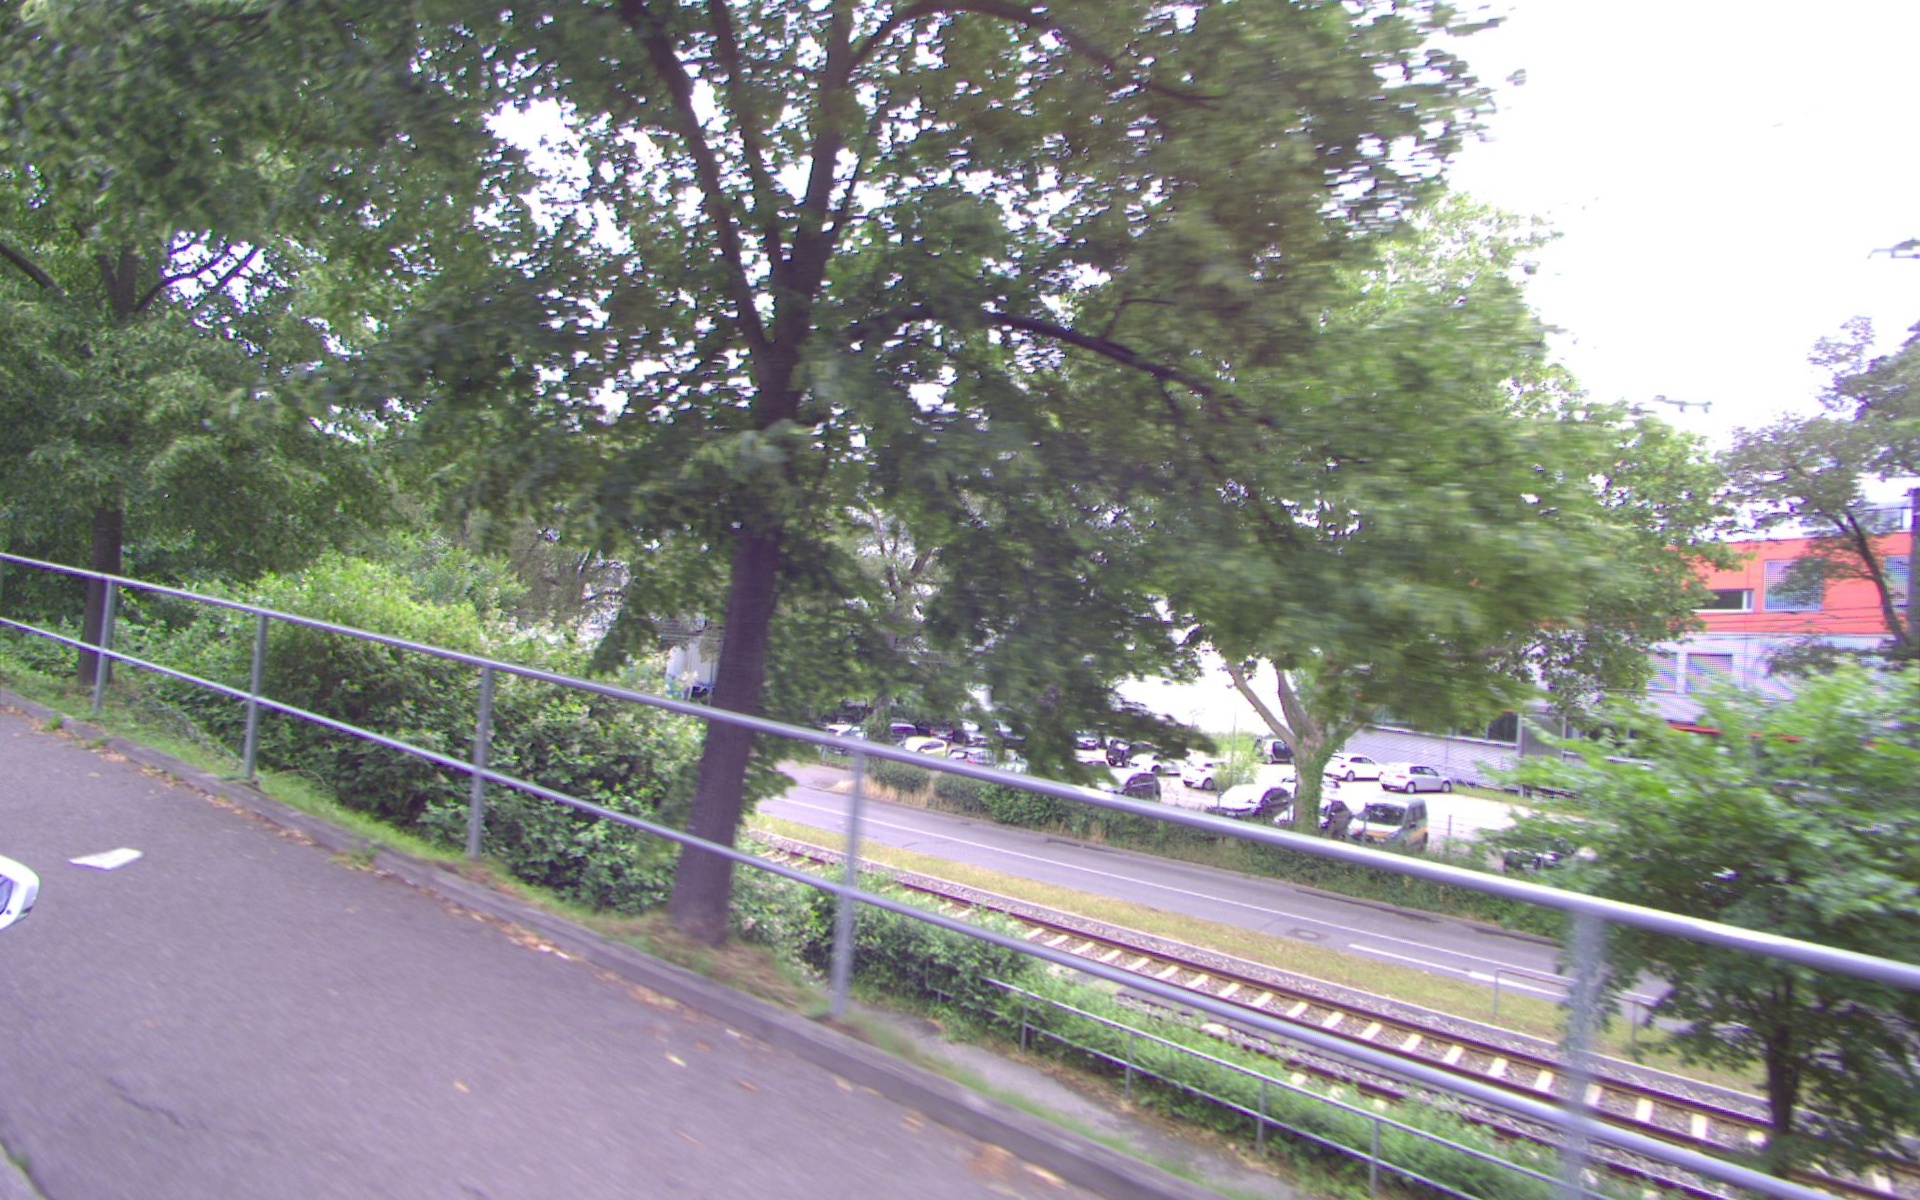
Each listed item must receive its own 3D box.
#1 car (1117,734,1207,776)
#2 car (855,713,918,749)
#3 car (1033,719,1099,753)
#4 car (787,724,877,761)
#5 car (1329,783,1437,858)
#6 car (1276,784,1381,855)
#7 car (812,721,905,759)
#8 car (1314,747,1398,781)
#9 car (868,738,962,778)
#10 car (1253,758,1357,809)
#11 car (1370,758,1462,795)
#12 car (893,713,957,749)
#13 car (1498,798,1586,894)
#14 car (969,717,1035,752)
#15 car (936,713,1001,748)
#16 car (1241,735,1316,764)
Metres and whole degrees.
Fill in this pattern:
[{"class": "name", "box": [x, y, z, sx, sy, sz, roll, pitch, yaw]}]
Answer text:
[{"class": "car", "box": [10.929, 8.392, 54.412, 4.289, 1.737, 1.989, 7, -2, -25]}, {"class": "car", "box": [-4.416, 7.796, 59.958, 1.978, 1.485, 4.311, 7, -2, -30]}, {"class": "car", "box": [6.827, 8.771, 65.089, 1.978, 1.485, 4.311, 7, -2, -30]}, {"class": "car", "box": [-6.410, 7.139, 50.733, 1.800, 1.523, 4.327, 5, -2, 39]}, {"class": "car", "box": [14.280, 7.330, 33.809, 1.972, 1.813, 4.563, 5, -2, 40]}, {"class": "car", "box": [13.218, 7.742, 35.912, 1.972, 1.813, 4.563, 5, -2, 40]}, {"class": "car", "box": [-4.928, 6.851, 49.404, 1.971, 1.485, 4.327, 5, -2, 39]}, {"class": "car", "box": [22.514, 9.280, 57.199, 4.280, 1.487, 1.991, 2, 0, -23]}, {"class": "car", "box": [-2.083, 7.470, 47.863, 1.971, 1.485, 4.327, 5, -2, 39]}, {"class": "car", "box": [15.826, 8.408, 46.366, 1.975, 1.485, 4.319, 7, -2, -25]}, {"class": "car", "box": [24.069, 9.283, 53.100, 4.276, 1.487, 1.992, 1, 0, -21]}, {"class": "car", "box": [-2.163, 7.911, 61.102, 1.978, 1.485, 4.311, 7, -2, -30]}, {"class": "car", "box": [17.714, 7.356, 30.530, 1.968, 2.037, 3.992, 5, -2, 33]}, {"class": "car", "box": [2.593, 8.342, 62.584, 1.978, 1.485, 4.311, 7, -2, -30]}, {"class": "car", "box": [0.493, 8.028, 62.045, 1.978, 1.485, 4.311, 7, -2, -30]}, {"class": "car", "box": [20.357, 9.551, 64.376, 4.282, 1.487, 1.990, 3, 0, -24]}]
